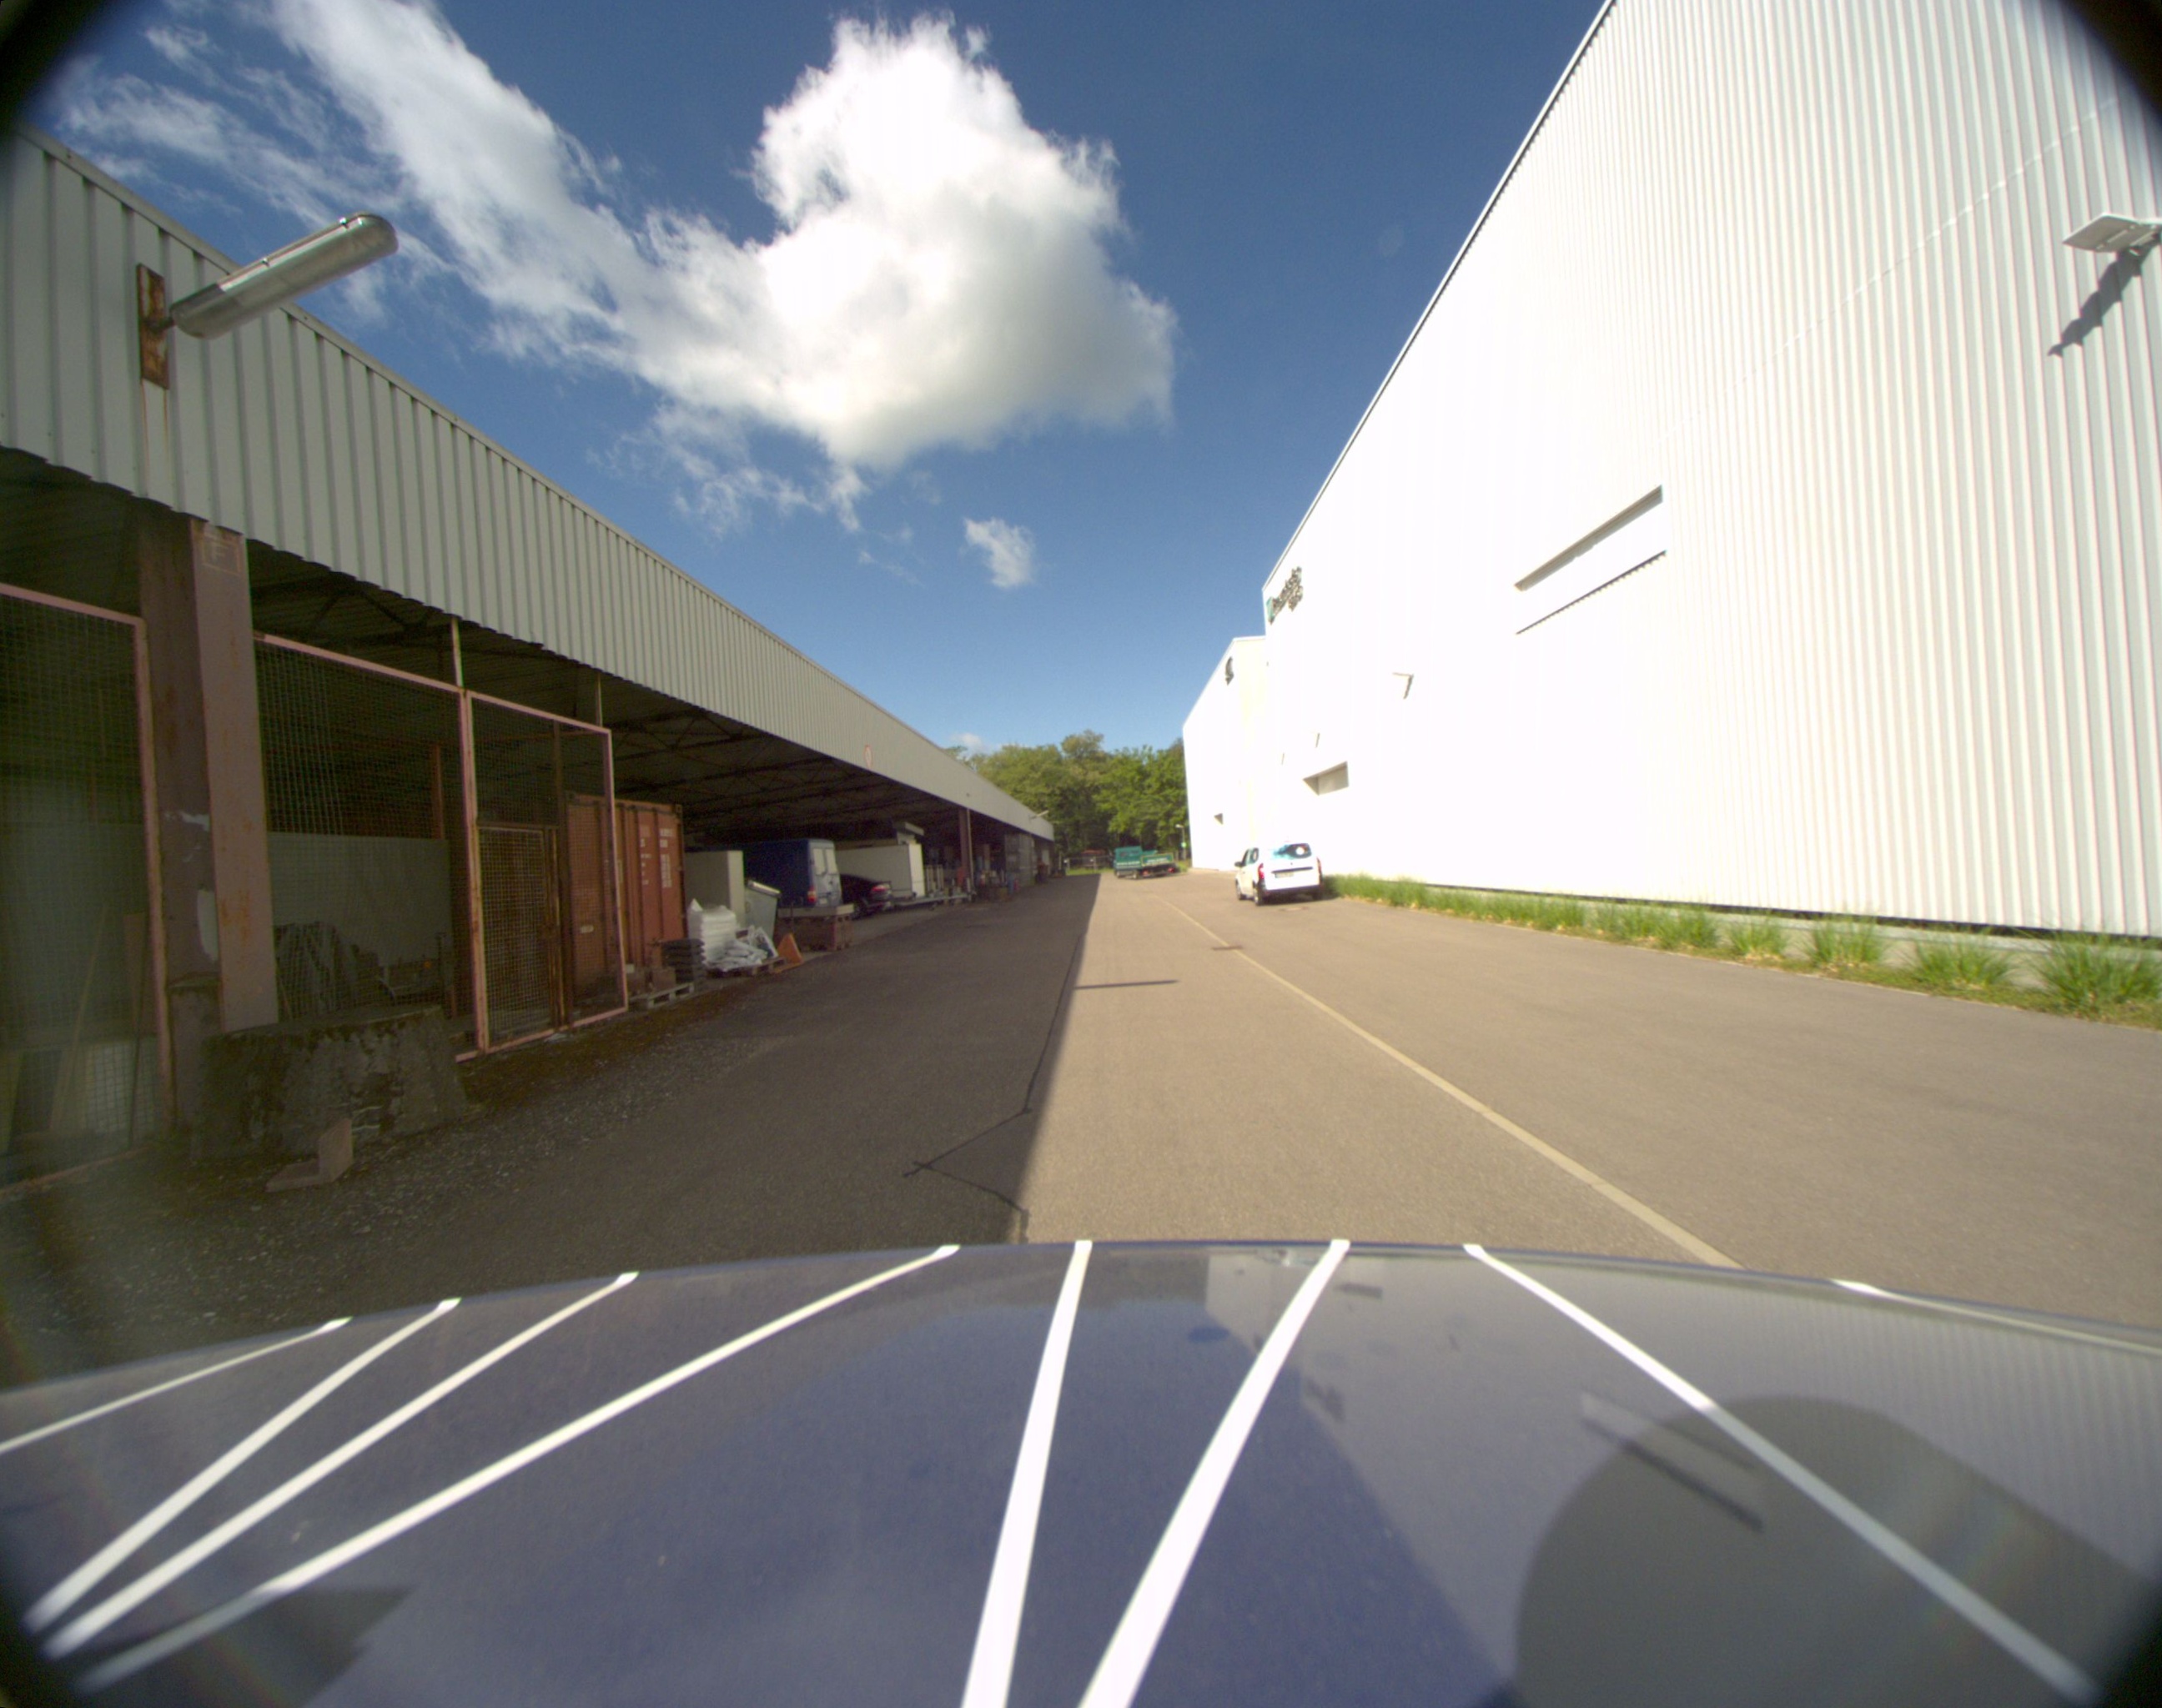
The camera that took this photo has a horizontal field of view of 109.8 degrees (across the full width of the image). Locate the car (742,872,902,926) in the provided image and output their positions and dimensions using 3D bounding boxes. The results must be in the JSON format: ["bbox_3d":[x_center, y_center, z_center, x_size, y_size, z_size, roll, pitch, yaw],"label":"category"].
[{"bbox_3d":[-8.059,1.381,23.968,4.355,1.425,1.864,-2,0,-2],"label":"car"}]

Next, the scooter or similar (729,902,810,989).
[{"bbox_3d":[-4.809,1.383,11.835,0.521,1.128,1.592,-3,1,1],"label":"scooter or similar"}]

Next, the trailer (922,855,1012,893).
[{"bbox_3d":[-6.649,1.163,44.822,4.828,1.985,2.047,-2,0,4],"label":"trailer"}]

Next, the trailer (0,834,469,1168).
[{"bbox_3d":[-7.551,0.966,6.596,1.581,2.131,3.521,-2,0,-1],"label":"trailer"}]

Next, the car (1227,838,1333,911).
[{"bbox_3d":[5.723,0.545,22.502,1.933,1.779,4.598,-5,0,2],"label":"car"}]

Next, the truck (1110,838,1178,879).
[{"bbox_3d":[4.785,0.435,60.309,2.589,2.701,9.688,-6,0,-11],"label":"truck"}]

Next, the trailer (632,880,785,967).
[{"bbox_3d":[-7.328,1.341,15.082,2.098,1.454,1.642,-3,1,5],"label":"trailer"}]

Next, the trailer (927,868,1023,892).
[{"bbox_3d":[-6.680,1.631,48.160,5.748,1.126,2.009,-3,0,0],"label":"trailer"}]

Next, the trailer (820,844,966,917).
[{"bbox_3d":[-6.498,0.905,26.520,4.552,2.321,1.689,-2,0,2],"label":"trailer"}]

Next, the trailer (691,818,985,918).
[{"bbox_3d":[-9.085,0.520,29.114,10.317,3.276,2.676,-2,0,2],"label":"trailer"}]

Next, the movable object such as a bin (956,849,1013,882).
[{"bbox_3d":[-8.427,1.011,66.548,4.626,2.705,2.000,-2,-1,0],"label":"movable object such as a bin"}]

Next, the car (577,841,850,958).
[{"bbox_3d":[-8.392,1.002,17.714,5.229,2.284,2.084,-3,0,1],"label":"car"}]
